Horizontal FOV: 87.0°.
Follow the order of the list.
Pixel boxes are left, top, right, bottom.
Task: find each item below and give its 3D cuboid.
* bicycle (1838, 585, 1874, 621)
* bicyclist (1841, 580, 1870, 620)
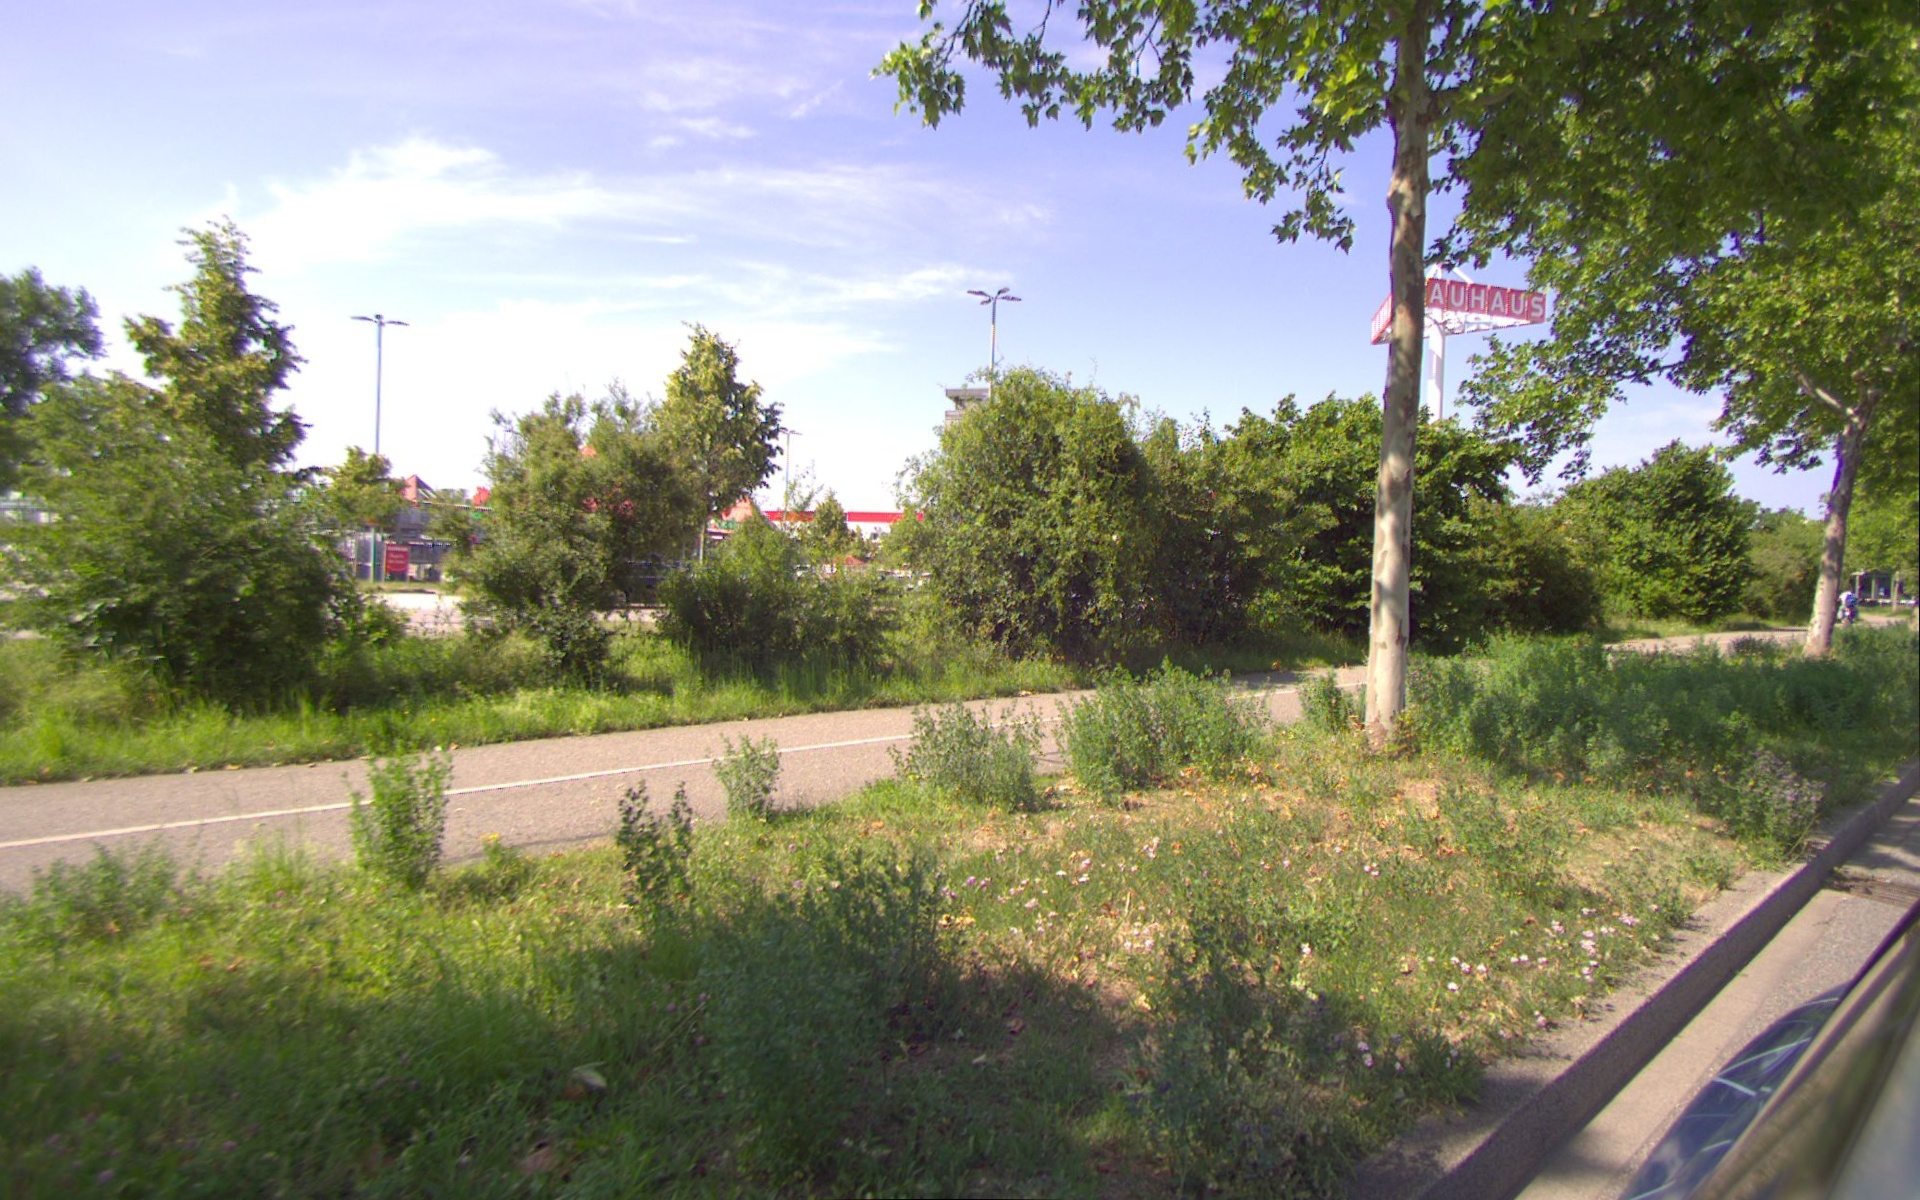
[{"bbox_3d":[34.114,0.106,38.529,2.058,1.315,0.724,-1,1,-40],"label":"bicycle"},{"bbox_3d":[34.105,-0.018,38.545,0.992,1.495,0.705,-1,1,-40],"label":"bicyclist"}]
